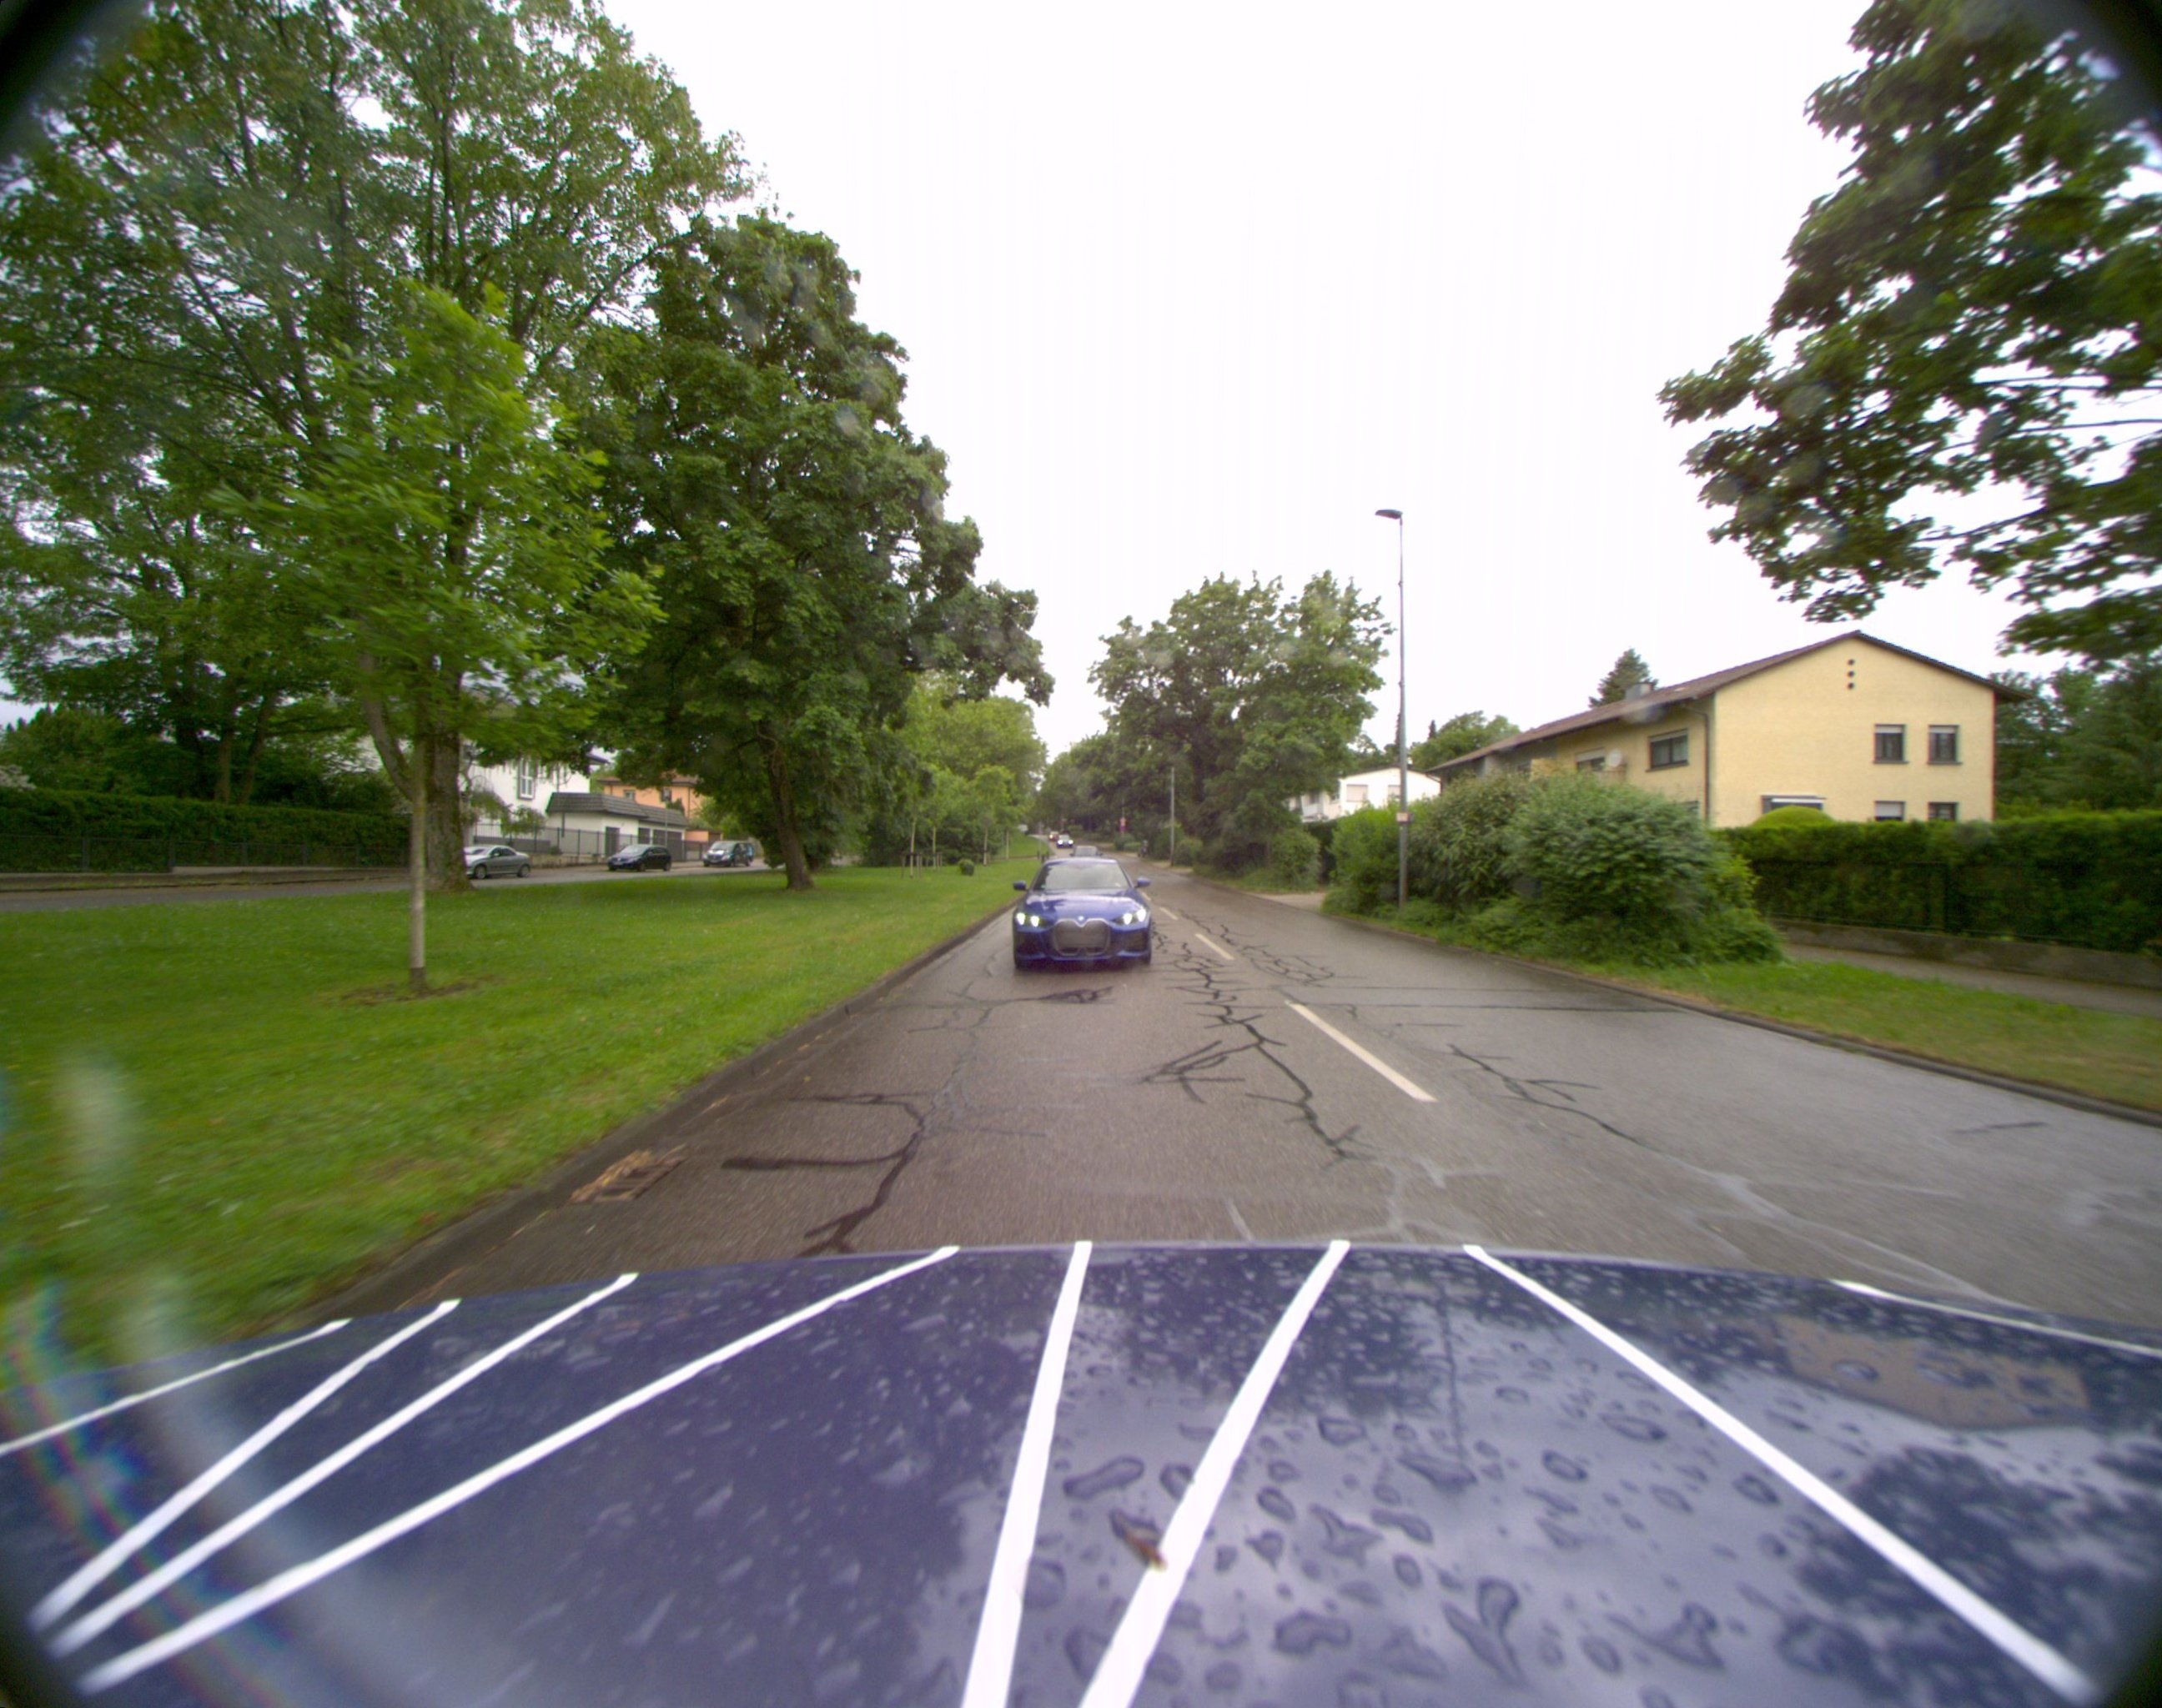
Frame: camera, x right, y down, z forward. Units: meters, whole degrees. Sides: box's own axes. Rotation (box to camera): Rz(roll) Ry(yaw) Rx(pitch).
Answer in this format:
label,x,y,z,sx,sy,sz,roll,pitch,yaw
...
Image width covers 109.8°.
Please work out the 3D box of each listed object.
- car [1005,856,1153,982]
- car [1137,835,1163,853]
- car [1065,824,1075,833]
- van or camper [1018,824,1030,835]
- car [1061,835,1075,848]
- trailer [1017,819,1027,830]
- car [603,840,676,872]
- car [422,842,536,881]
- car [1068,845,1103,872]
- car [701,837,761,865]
label,x,y,z,sx,sy,sz,roll,pitch,yaw
car,0.060,0.817,11.664,1.796,1.459,4.510,-1,1,2
car,6.476,-0.941,71.528,1.668,1.534,4.281,-3,2,-4
car,-1.912,-4.422,131.467,1.759,1.356,4.321,2,4,-2
van or camper,-10.418,-4.565,138.607,2.000,1.859,5.658,1,3,-7
car,-1.629,-1.588,96.042,1.678,1.542,3.831,1,1,1
trailer,-11.122,-5.633,143.356,1.702,2.043,3.946,0,3,-7
car,-24.602,0.076,42.516,1.907,1.615,4.033,1,1,-3
car,-23.836,0.243,30.267,1.686,1.368,3.708,3,1,-2
car,0.290,0.241,42.634,1.796,1.459,4.510,0,0,2
car,-25.235,-0.256,54.970,2.165,1.868,5.067,1,1,-3
